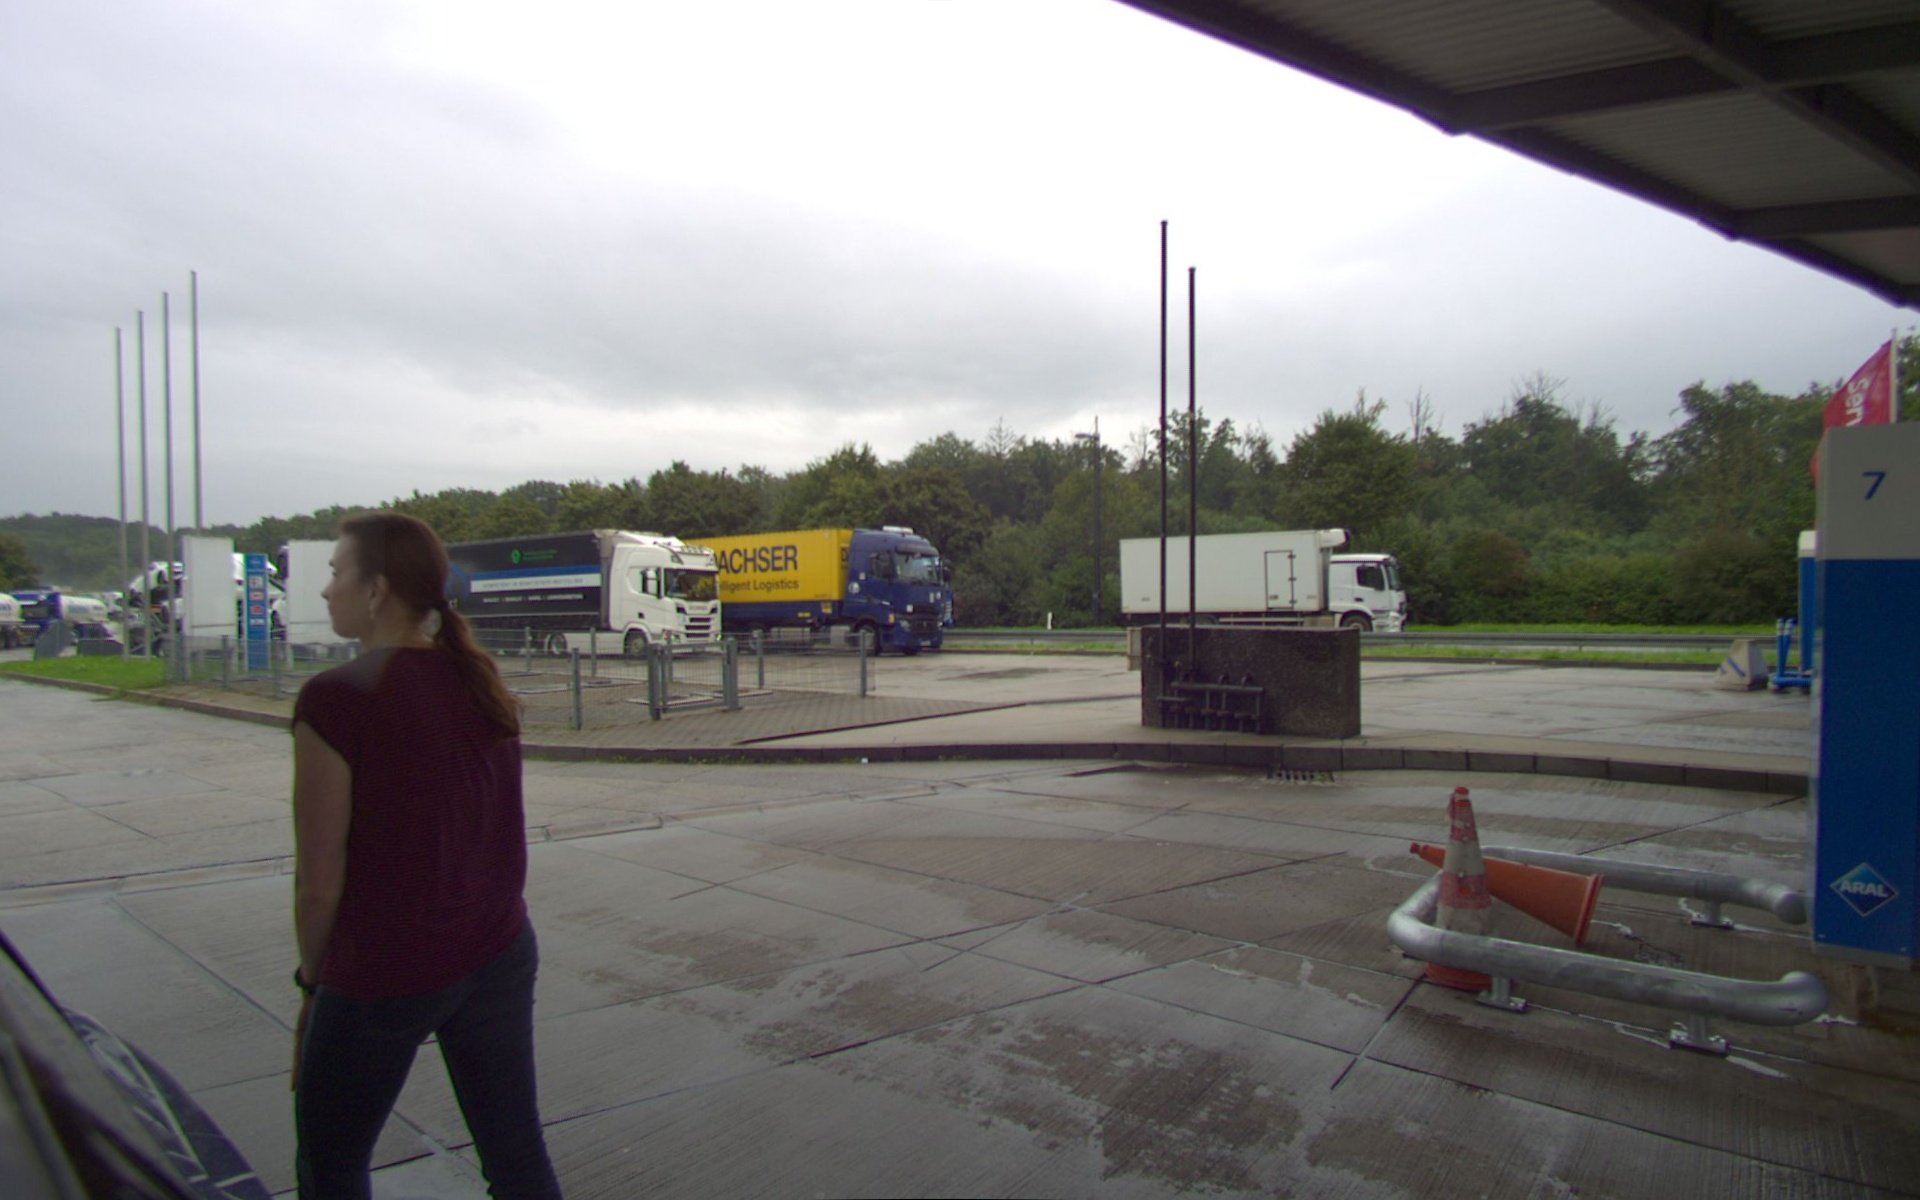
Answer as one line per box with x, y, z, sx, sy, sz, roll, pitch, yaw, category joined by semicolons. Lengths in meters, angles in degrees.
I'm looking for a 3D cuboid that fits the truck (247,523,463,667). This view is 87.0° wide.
-18.986;-0.114;31.623;7.244;4.063;2.957;-1;0;34;truck

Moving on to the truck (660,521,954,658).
-5.384;-0.270;33.956;10.608;4.063;2.743;-1;0;33;truck

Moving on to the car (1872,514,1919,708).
14.860;0.114;12.354;5.272;2.482;2.298;-1;-2;37;car

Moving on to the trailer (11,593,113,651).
-62.260;1.432;70.488;2.854;3.666;10.605;-1;0;-28;trailer

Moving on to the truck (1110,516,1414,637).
11.043;-0.733;37.697;10.433;4.063;2.961;-1;0;30;truck

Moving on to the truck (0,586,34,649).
-55.549;1.016;55.021;3.196;3.591;12.013;-1;0;-19;truck

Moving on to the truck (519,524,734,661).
-10.913;-0.197;32.959;6.716;4.063;2.960;-1;0;31;truck

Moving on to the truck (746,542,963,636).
-5.133;-0.431;47.691;10.433;4.063;2.961;-1;0;30;truck

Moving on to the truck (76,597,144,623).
-124.207;1.533;147.701;16.515;3.591;3.215;-1;0;34;truck

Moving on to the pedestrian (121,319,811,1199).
-0.828;0.558;1.725;0.839;1.747;0.786;-1;-1;40;pedestrian

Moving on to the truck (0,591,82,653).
-59.415;1.369;65.001;3.000;3.795;6.486;-1;0;-27;truck

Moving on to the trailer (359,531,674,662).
-16.174;-0.045;36.114;13.759;4.063;2.959;-1;0;31;trailer

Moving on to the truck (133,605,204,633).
-106.165;2.618;135.594;14.626;3.591;3.215;-1;-1;34;truck

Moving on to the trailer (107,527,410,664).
-25.410;-0.057;35.927;16.563;4.063;2.957;-1;0;34;trailer

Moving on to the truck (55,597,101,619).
-147.411;1.414;169.007;11.949;3.591;3.213;-1;0;36;truck
